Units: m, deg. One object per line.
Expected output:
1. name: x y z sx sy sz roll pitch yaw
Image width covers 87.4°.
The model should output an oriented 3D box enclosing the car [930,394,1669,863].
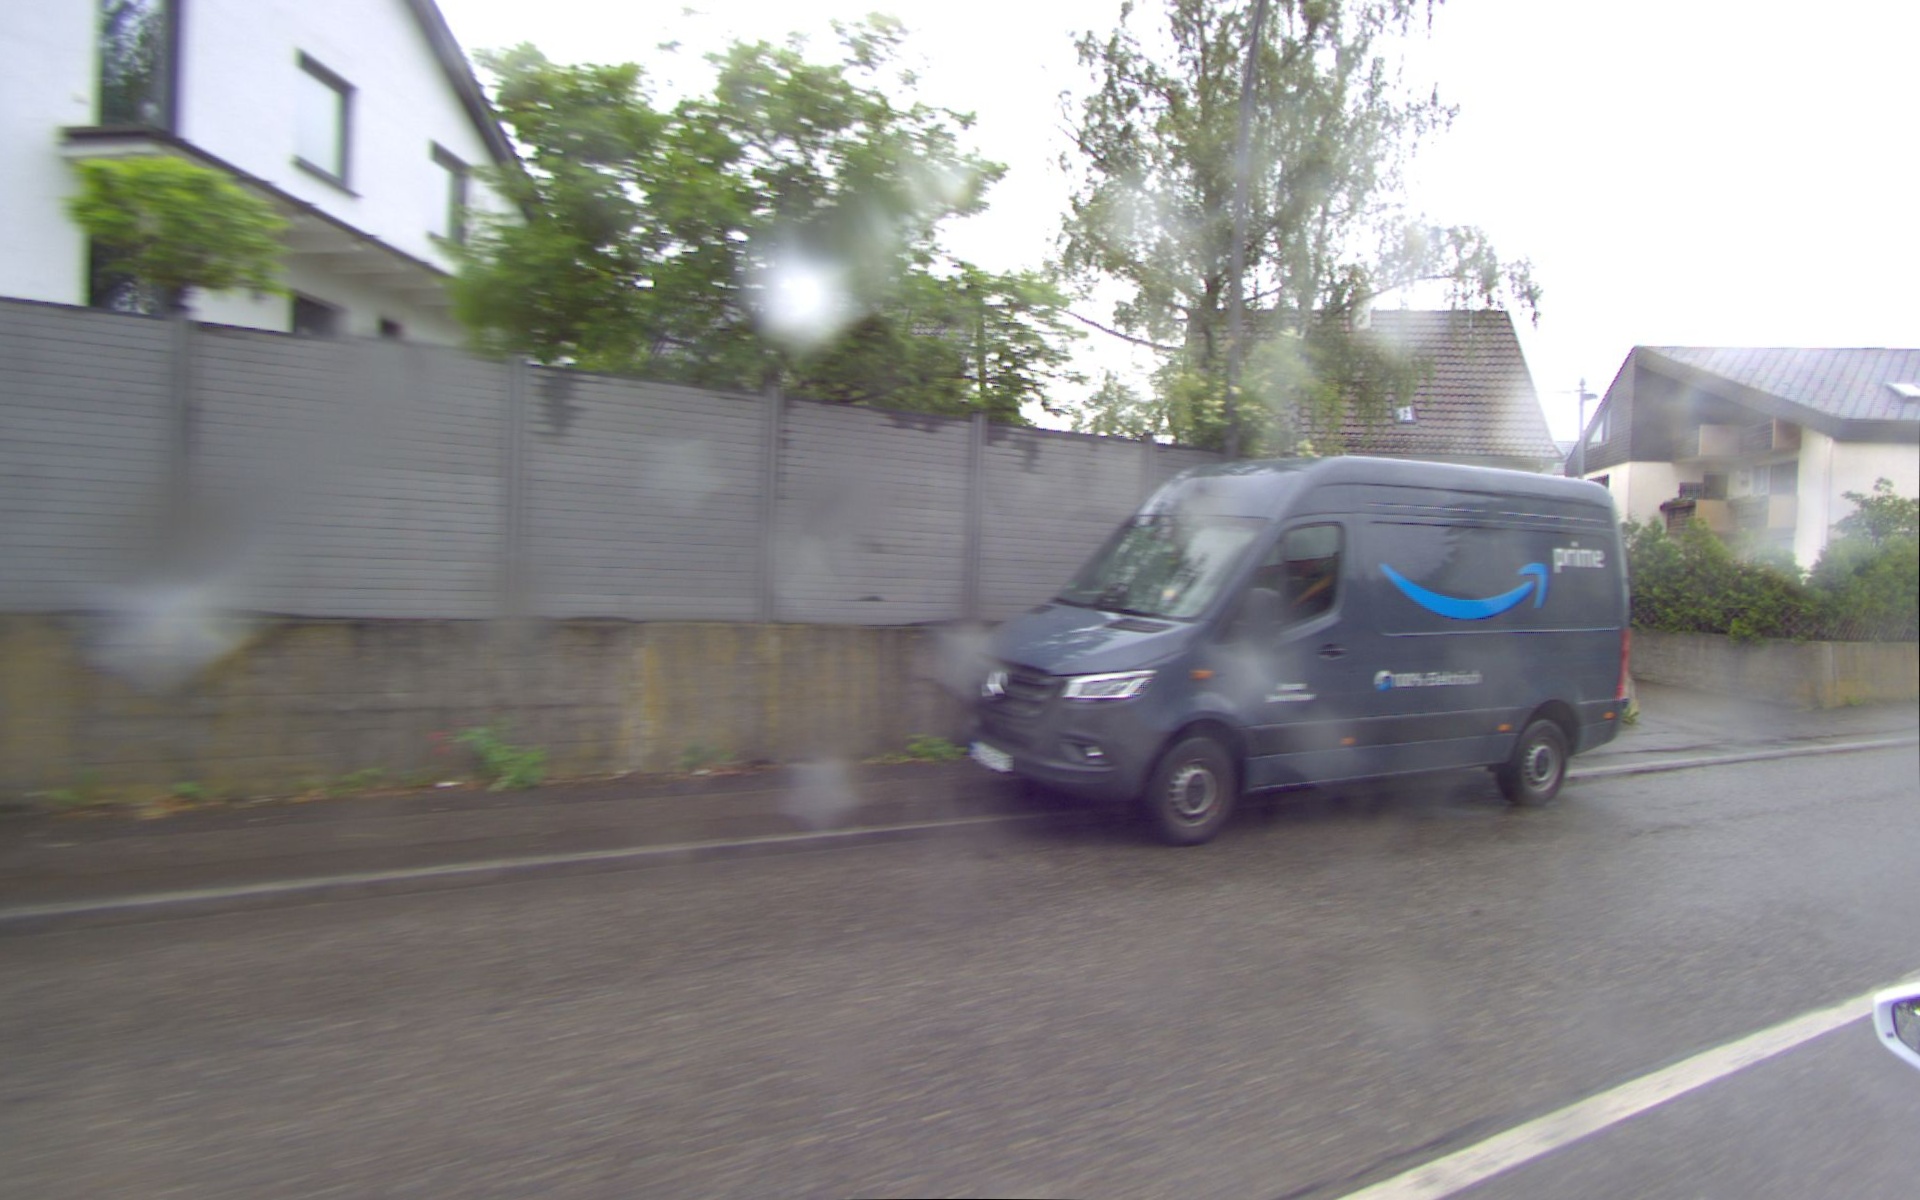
1. car: 2.867 0.193 8.051 5.844 2.685 2.086 1 2 -28
